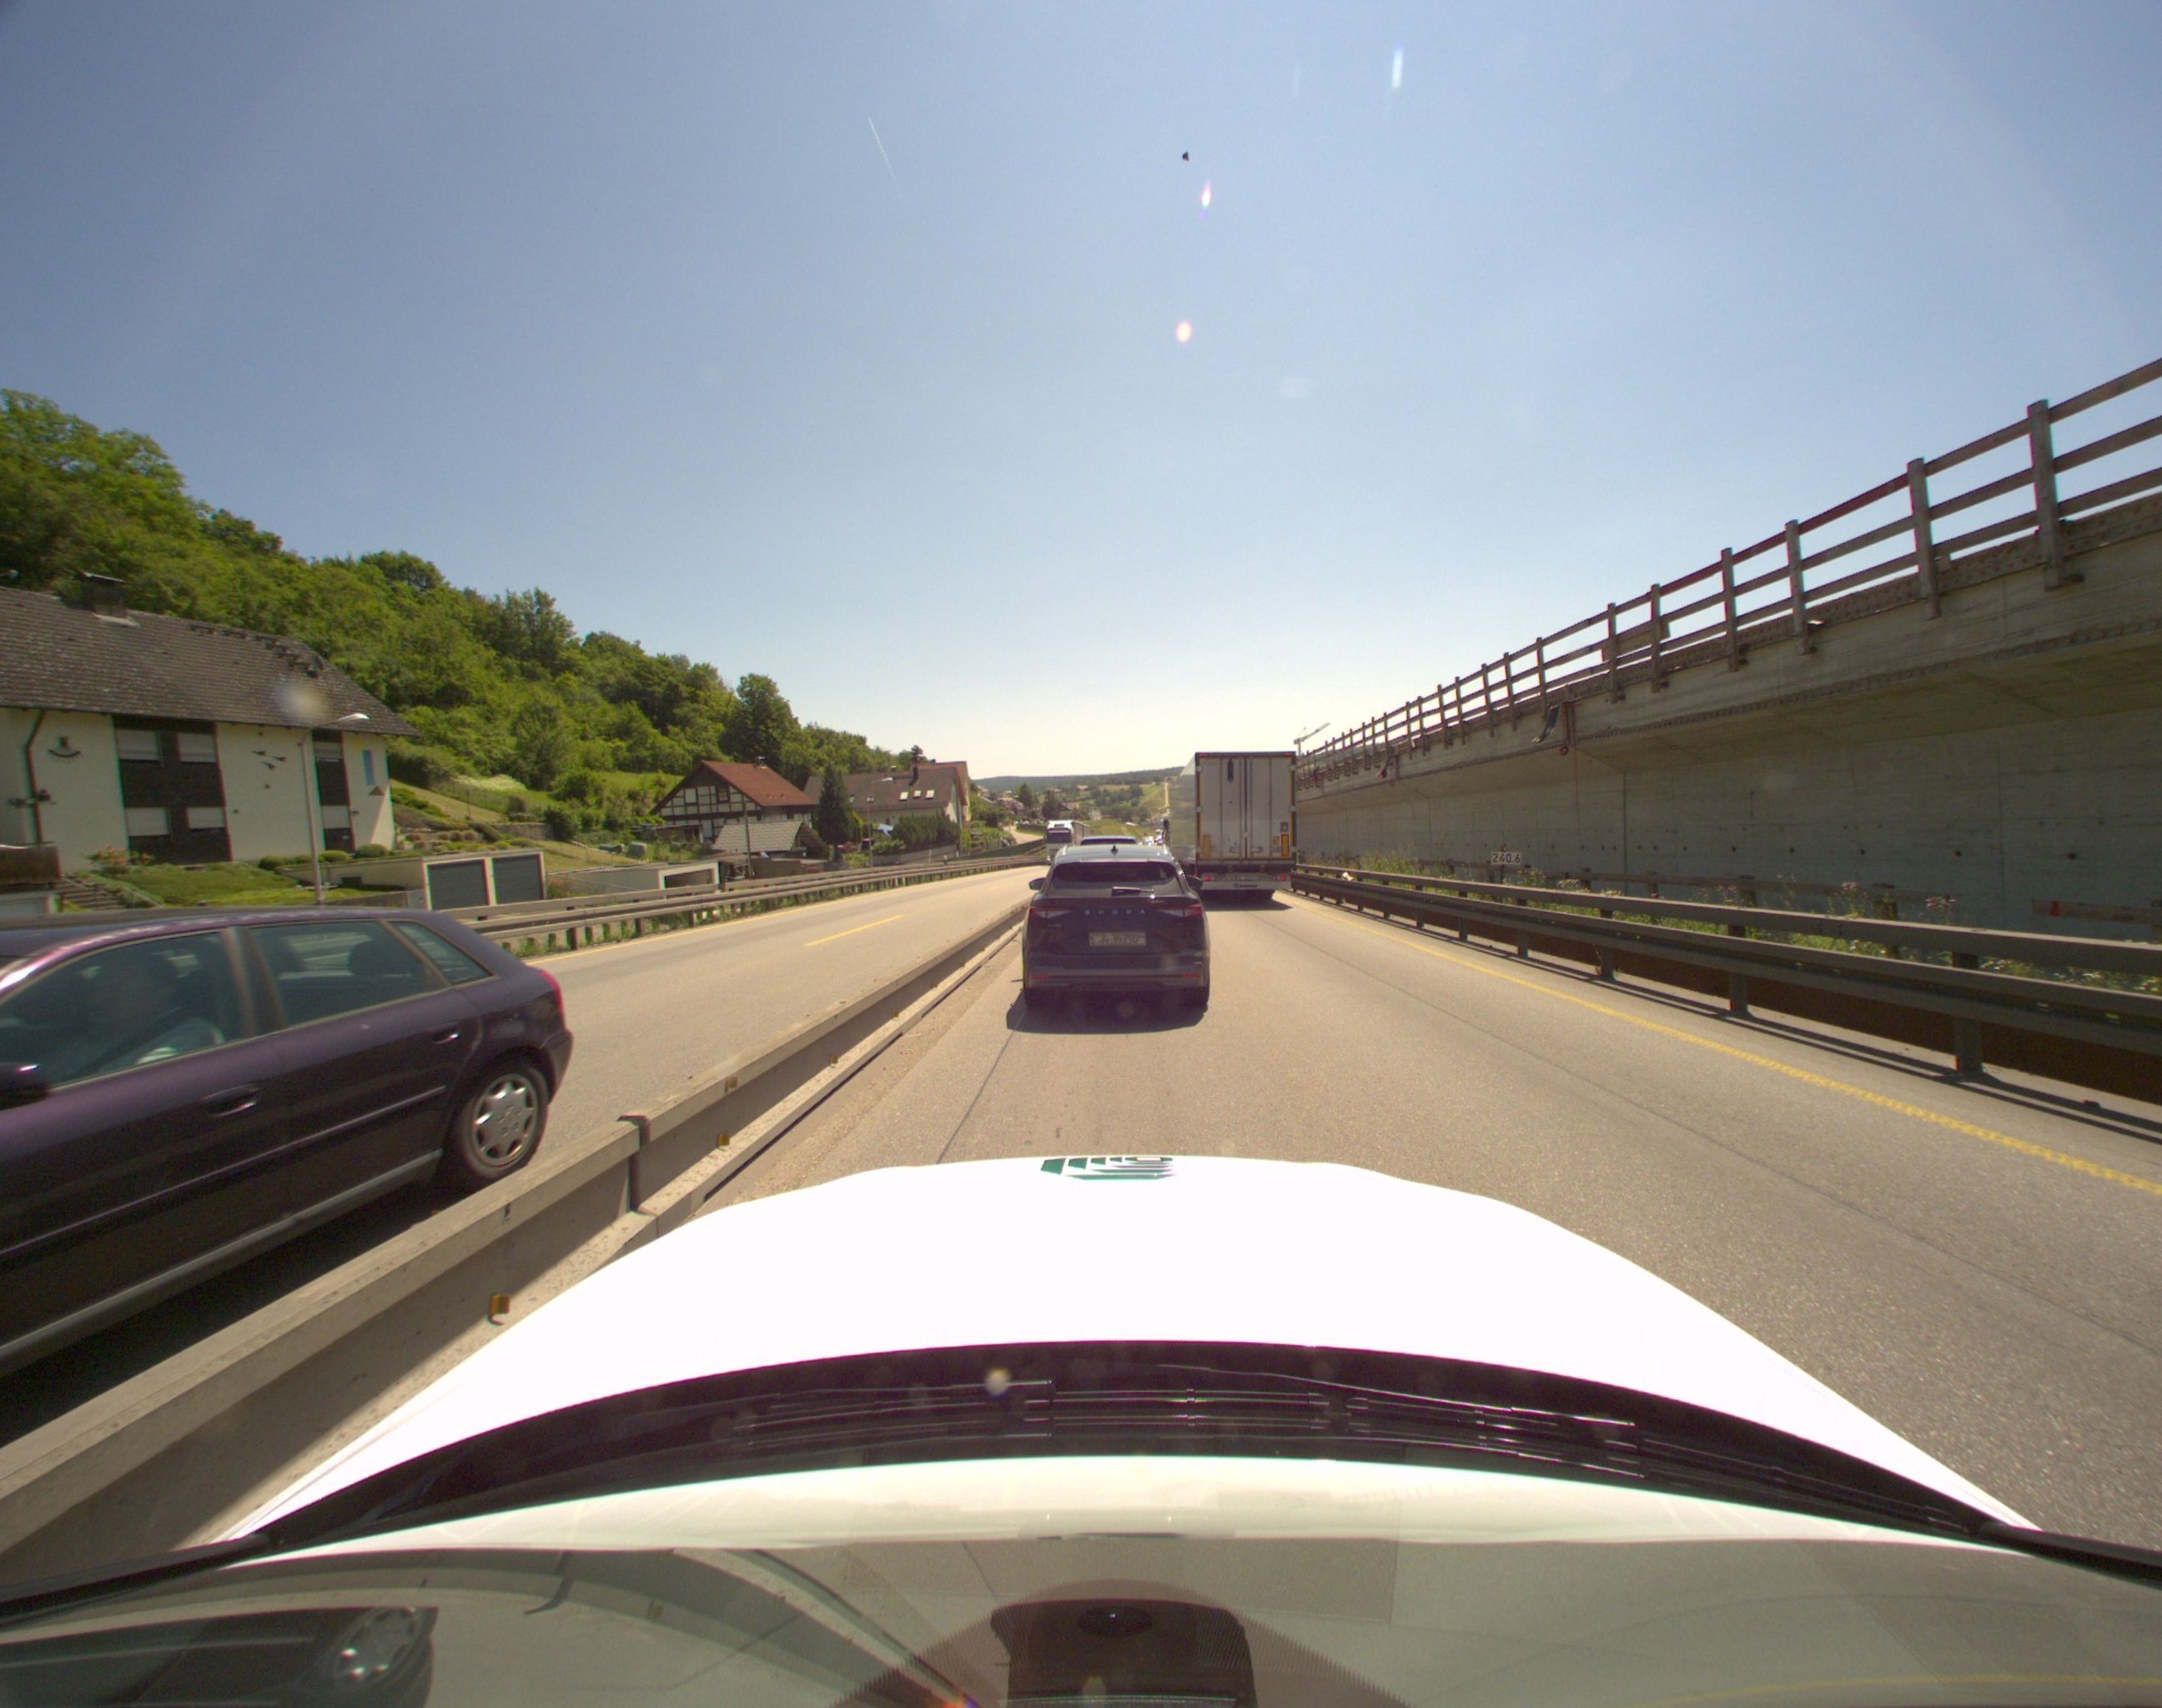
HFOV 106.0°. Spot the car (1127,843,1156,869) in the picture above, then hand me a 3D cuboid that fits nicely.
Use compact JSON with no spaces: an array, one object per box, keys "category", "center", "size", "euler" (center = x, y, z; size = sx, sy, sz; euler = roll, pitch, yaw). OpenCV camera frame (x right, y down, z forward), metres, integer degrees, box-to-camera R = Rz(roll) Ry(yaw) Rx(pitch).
[{"category":"car","center":[3.871,0.096,52.890],"size":[1.700,1.622,4.002],"euler":[0,1,2]}]

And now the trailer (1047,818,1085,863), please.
[{"category":"trailer","center":[-1.364,-1.342,78.312],"size":[2.744,4.070,8.020],"euler":[0,1,5]}]

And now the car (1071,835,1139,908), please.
[{"category":"car","center":[0.594,0.422,23.066],"size":[1.702,1.881,3.998],"euler":[0,1,-2]}]

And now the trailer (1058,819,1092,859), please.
[{"category":"trailer","center":[-0.543,-1.597,86.623],"size":[2.744,4.070,8.648],"euler":[0,1,5]}]

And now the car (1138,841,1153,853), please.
[{"category":"car","center":[9.257,-0.986,116.762],"size":[1.985,1.585,3.839],"euler":[0,-1,3]}]

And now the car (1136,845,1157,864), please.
[{"category":"car","center":[5.771,0.015,72.386],"size":[1.700,1.622,4.002],"euler":[0,1,2]}]

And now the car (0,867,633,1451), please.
[{"category":"car","center":[-3.587,0.834,2.774],"size":[1.711,1.408,4.003],"euler":[-2,0,3]}]

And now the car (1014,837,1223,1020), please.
[{"category":"car","center":[0.277,0.672,9.132],"size":[1.838,1.586,3.904],"euler":[0,-1,-2]}]

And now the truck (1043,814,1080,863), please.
[{"category":"truck","center":[-1.712,-1.425,74.576],"size":[2.739,4.283,4.964],"euler":[0,0,5]}]

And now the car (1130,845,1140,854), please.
[{"category":"car","center":[10.735,-0.804,161.075],"size":[1.692,1.728,3.843],"euler":[-1,-1,6]}]

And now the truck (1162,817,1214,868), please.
[{"category":"truck","center":[7.481,-0.664,58.418],"size":[3.179,3.191,12.827],"euler":[-1,-1,5]}]

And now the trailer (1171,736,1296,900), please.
[{"category":"trailer","center":[4.494,-0.849,26.389],"size":[2.521,4.127,11.558],"euler":[0,-1,4]}]

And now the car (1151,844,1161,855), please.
[{"category":"car","center":[13.019,-0.782,141.812],"size":[1.692,1.728,3.843],"euler":[-1,-1,6]}]

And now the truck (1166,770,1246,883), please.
[{"category":"truck","center":[4.906,-0.951,33.389],"size":[2.502,4.025,8.245],"euler":[0,-1,4]}]

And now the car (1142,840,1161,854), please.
[{"category":"car","center":[8.166,-0.801,94.773],"size":[1.985,1.585,3.839],"euler":[0,-1,3]}]

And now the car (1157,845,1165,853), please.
[{"category":"car","center":[17.444,-1.066,176.965],"size":[1.692,1.728,3.843],"euler":[-1,-1,6]}]
